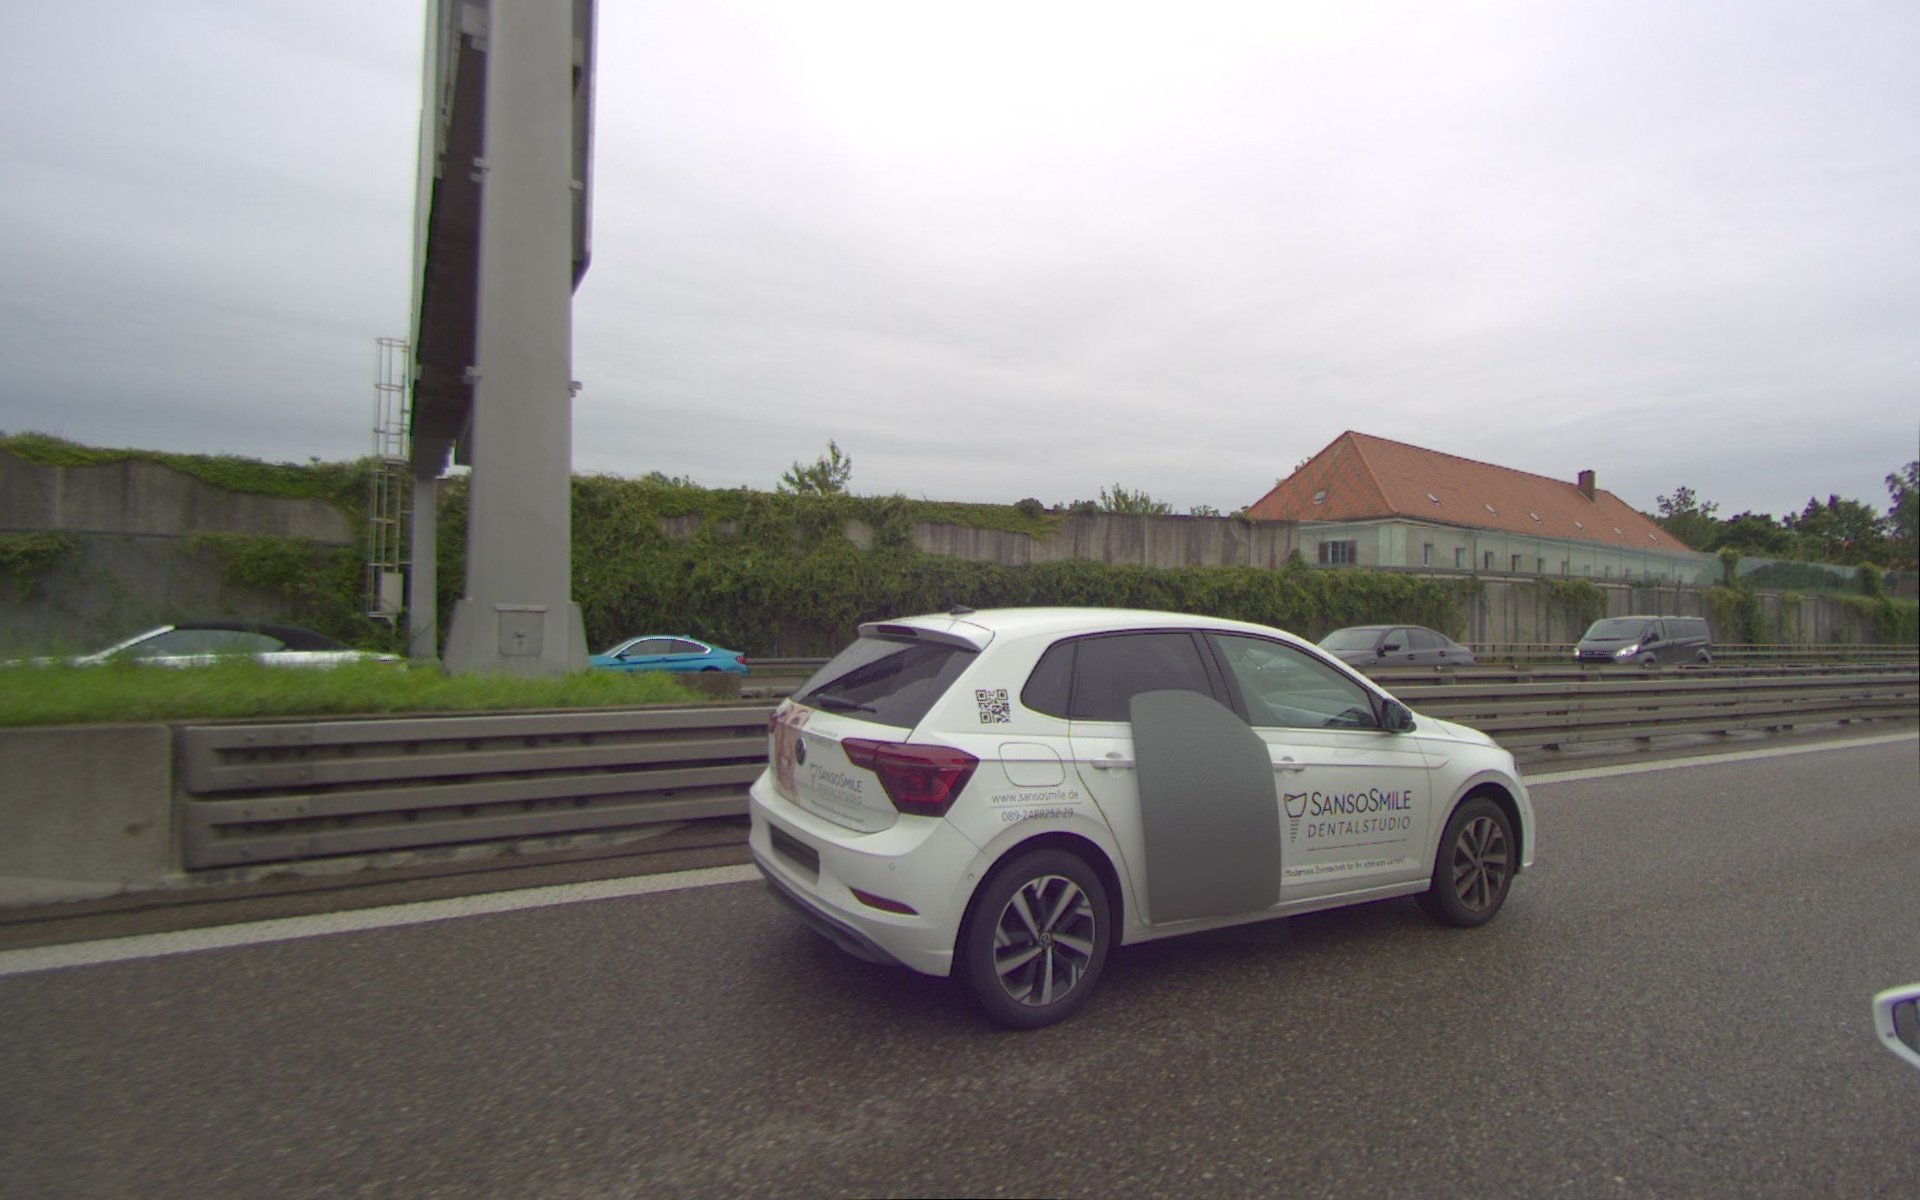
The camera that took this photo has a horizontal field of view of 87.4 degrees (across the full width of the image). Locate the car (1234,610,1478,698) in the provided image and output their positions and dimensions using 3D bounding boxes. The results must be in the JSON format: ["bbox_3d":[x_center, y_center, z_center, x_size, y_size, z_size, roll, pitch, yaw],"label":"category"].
[{"bbox_3d":[7.246,0.951,18.323,4.175,1.374,1.984,2,0,-30],"label":"car"}]

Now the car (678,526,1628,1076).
[{"bbox_3d":[1.154,0.655,4.939,4.609,1.639,1.744,1,-1,-31],"label":"car"}]

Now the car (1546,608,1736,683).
[{"bbox_3d":[20.342,1.340,29.921,6.197,1.998,2.198,2,0,-30],"label":"car"}]

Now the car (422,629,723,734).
[{"bbox_3d":[-8.182,1.651,21.398,5.687,1.899,2.198,2,0,-30],"label":"car"}]

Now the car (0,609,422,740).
[{"bbox_3d":[-9.188,0.881,12.662,4.186,1.383,1.697,2,0,-30],"label":"car"}]
